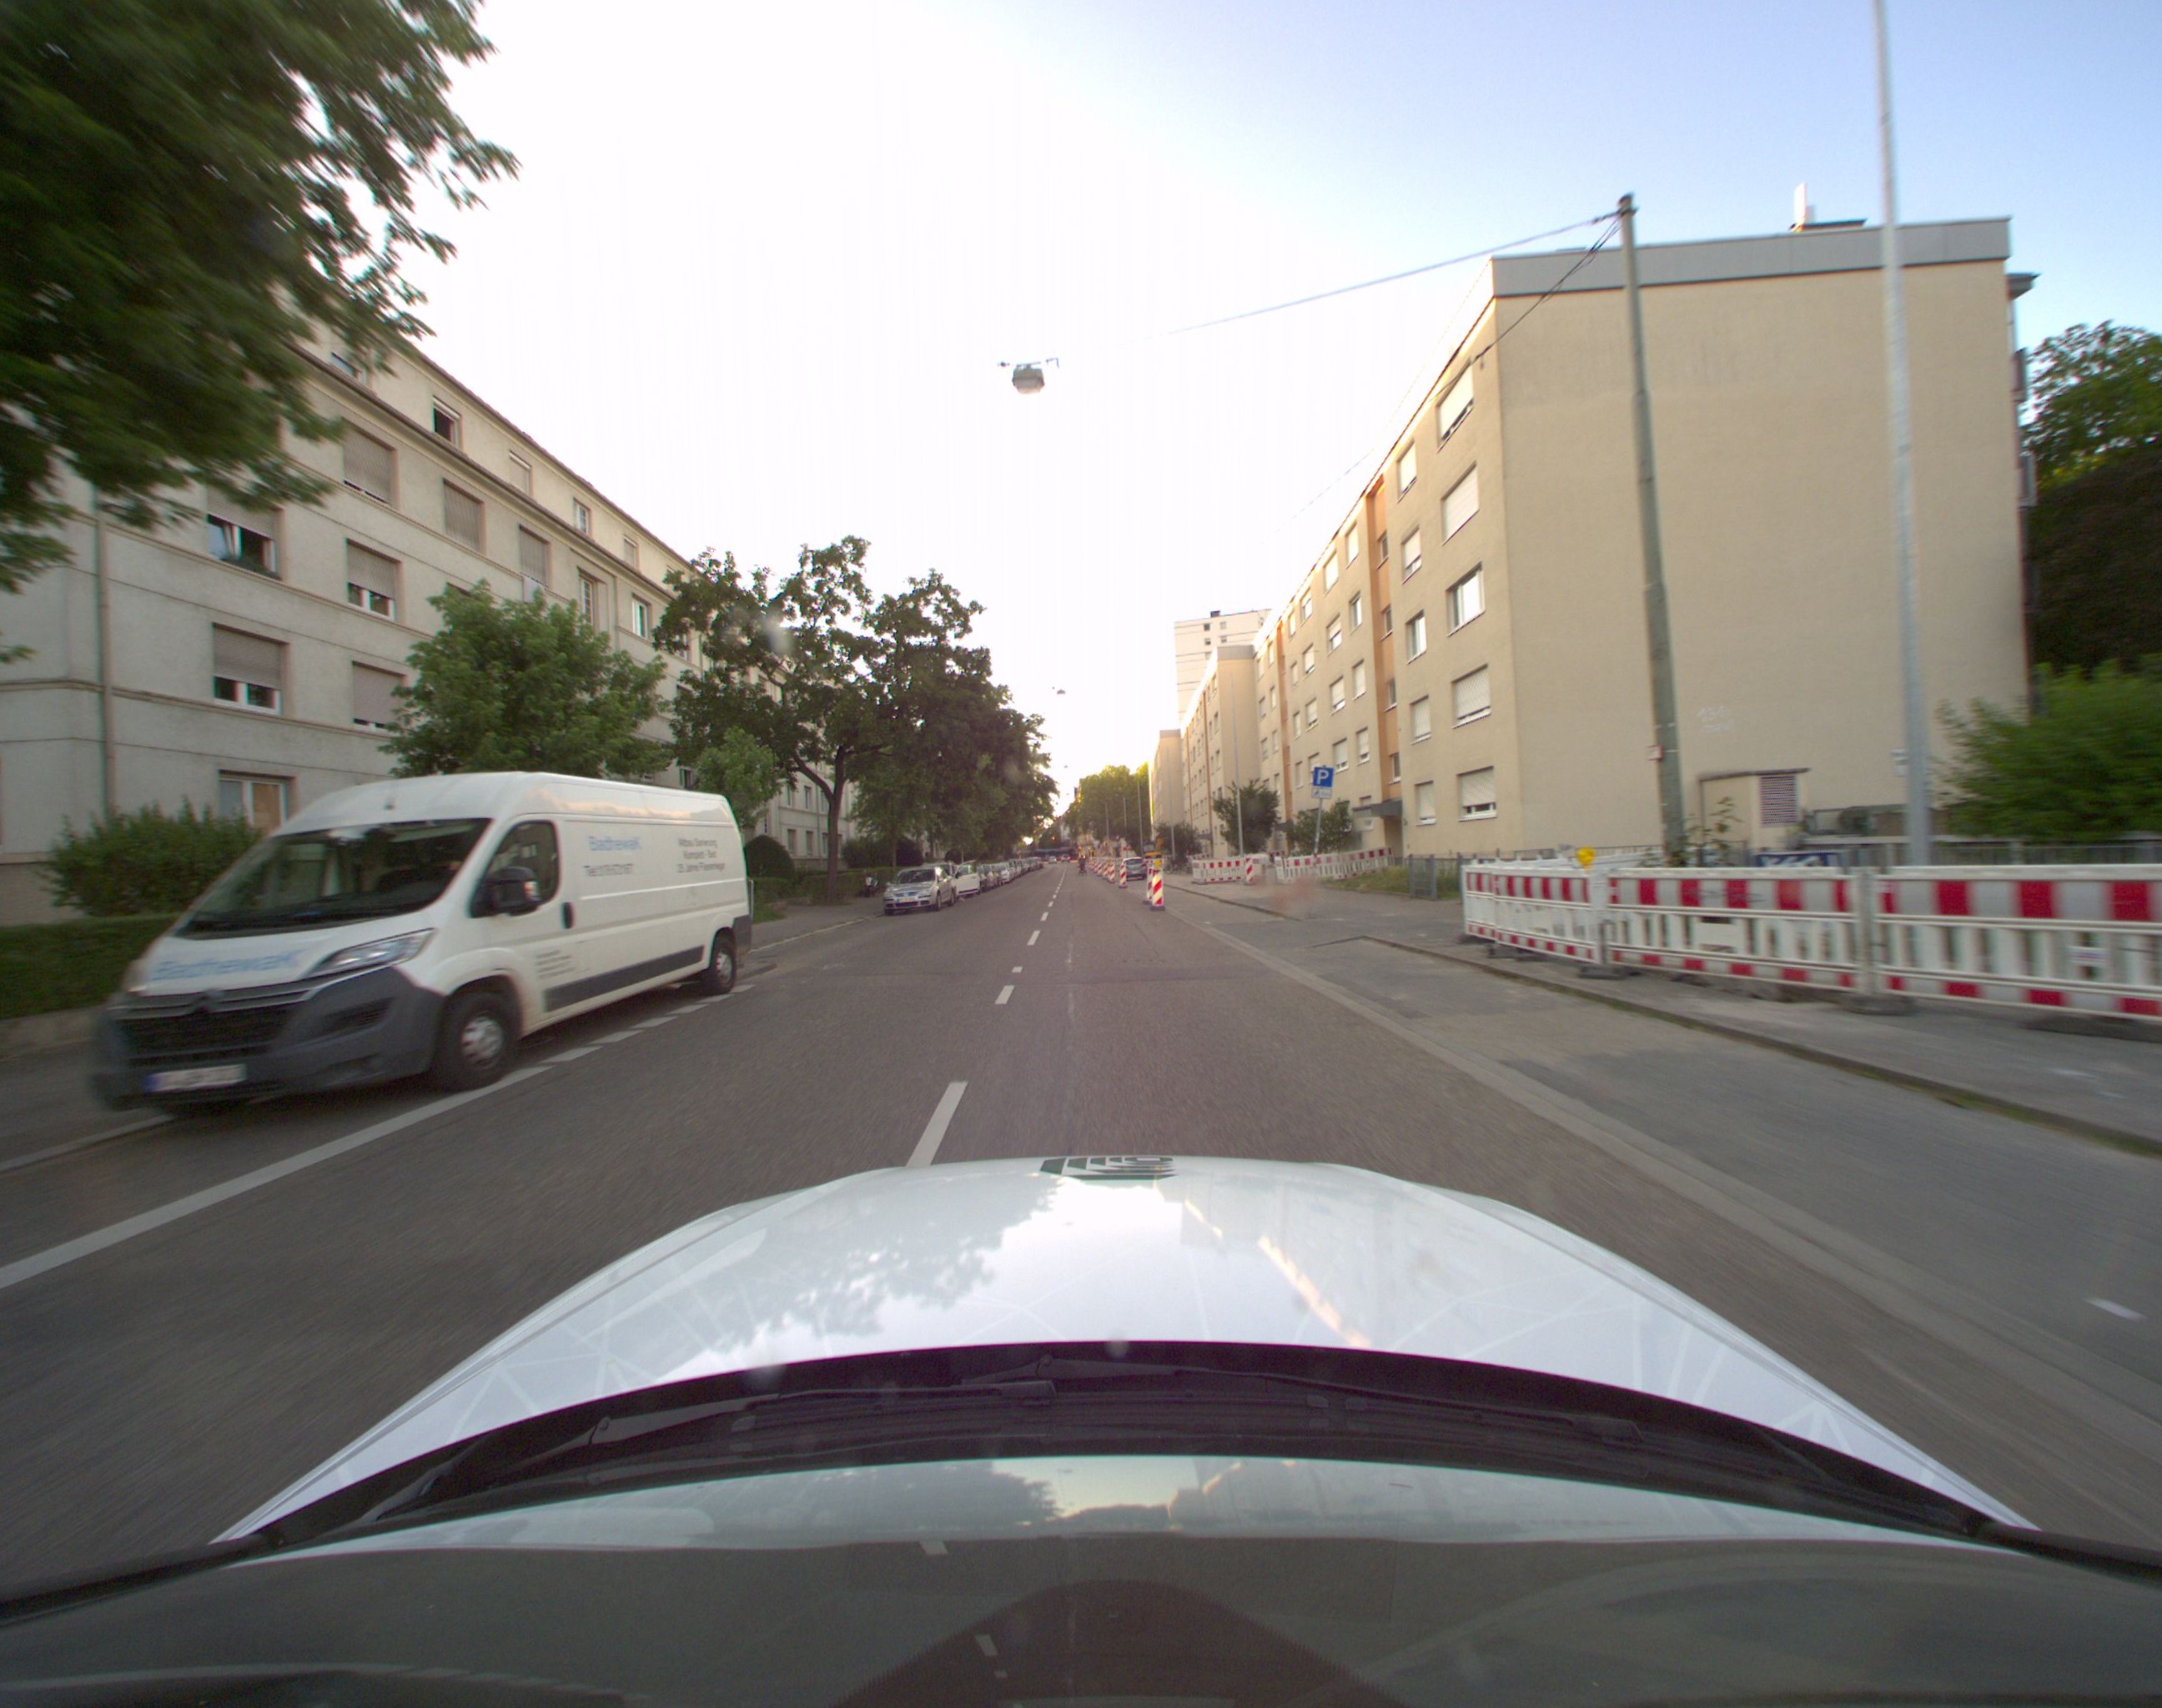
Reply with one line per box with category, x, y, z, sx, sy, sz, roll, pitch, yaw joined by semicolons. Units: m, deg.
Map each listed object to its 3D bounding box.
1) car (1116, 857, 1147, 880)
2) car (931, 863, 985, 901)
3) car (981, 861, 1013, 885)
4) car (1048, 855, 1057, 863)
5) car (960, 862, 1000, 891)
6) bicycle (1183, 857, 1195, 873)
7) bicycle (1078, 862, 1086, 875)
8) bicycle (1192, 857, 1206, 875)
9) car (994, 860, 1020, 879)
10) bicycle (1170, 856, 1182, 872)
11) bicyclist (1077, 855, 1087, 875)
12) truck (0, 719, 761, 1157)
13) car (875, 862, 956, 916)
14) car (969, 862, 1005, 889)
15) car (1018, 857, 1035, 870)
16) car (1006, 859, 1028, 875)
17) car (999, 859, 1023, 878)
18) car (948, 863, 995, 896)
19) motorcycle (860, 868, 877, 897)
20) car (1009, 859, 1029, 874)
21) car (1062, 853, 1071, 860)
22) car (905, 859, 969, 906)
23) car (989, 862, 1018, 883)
car;3.319;0.921;54.322;1.774;1.390;3.999;-3;0;-1
car;-5.587;1.235;37.484;1.751;1.443;3.927;-6;0;0
car;-5.873;1.289;57.331;1.751;1.443;3.453;-6;0;0
car;-6.196;1.136;178.548;1.752;1.443;3.451;-6;0;-2
car;-5.821;1.280;47.293;1.773;1.423;3.745;-6;0;0
bicycle;7.792;0.788;58.942;0.615;1.107;2.236;-3;0;2
bicycle;0.097;1.307;73.932;0.639;1.115;3.055;-3;0;0
bicycle;7.641;0.776;52.943;0.615;1.107;2.236;-3;0;2
car;-6.209;1.284;68.446;1.751;1.443;3.453;-6;0;0
bicycle;6.926;0.752;59.464;0.615;1.107;2.236;-3;0;2
bicyclist;0.069;0.993;74.486;0.789;1.800;1.017;-3;-1;0
truck;-5.364;0.493;7.822;2.095;2.423;6.043;-4;0;-1
car;-5.402;1.091;27.072;1.751;1.483;3.927;-6;0;0
car;-5.910;1.332;51.740;1.751;1.443;3.453;-6;0;0
car;-6.637;1.137;99.710;1.647;1.443;3.453;-6;0;0
car;-6.394;1.307;81.524;1.751;1.443;3.453;-6;0;0
car;-6.259;1.285;73.123;1.751;1.443;3.453;-6;0;0
car;-5.636;1.283;42.351;1.751;1.443;3.927;-6;0;0
motorcycle;-10.272;1.357;39.410;0.410;1.332;1.296;-3;0;0
car;-6.735;1.325;88.370;1.751;1.443;3.453;-6;0;0
car;-3.360;0.660;189.334;1.691;1.443;3.449;-6;0;-4
car;-5.754;1.094;33.013;1.751;1.604;3.927;-6;0;0
car;-5.934;1.388;62.714;1.751;1.443;3.453;-6;0;0
